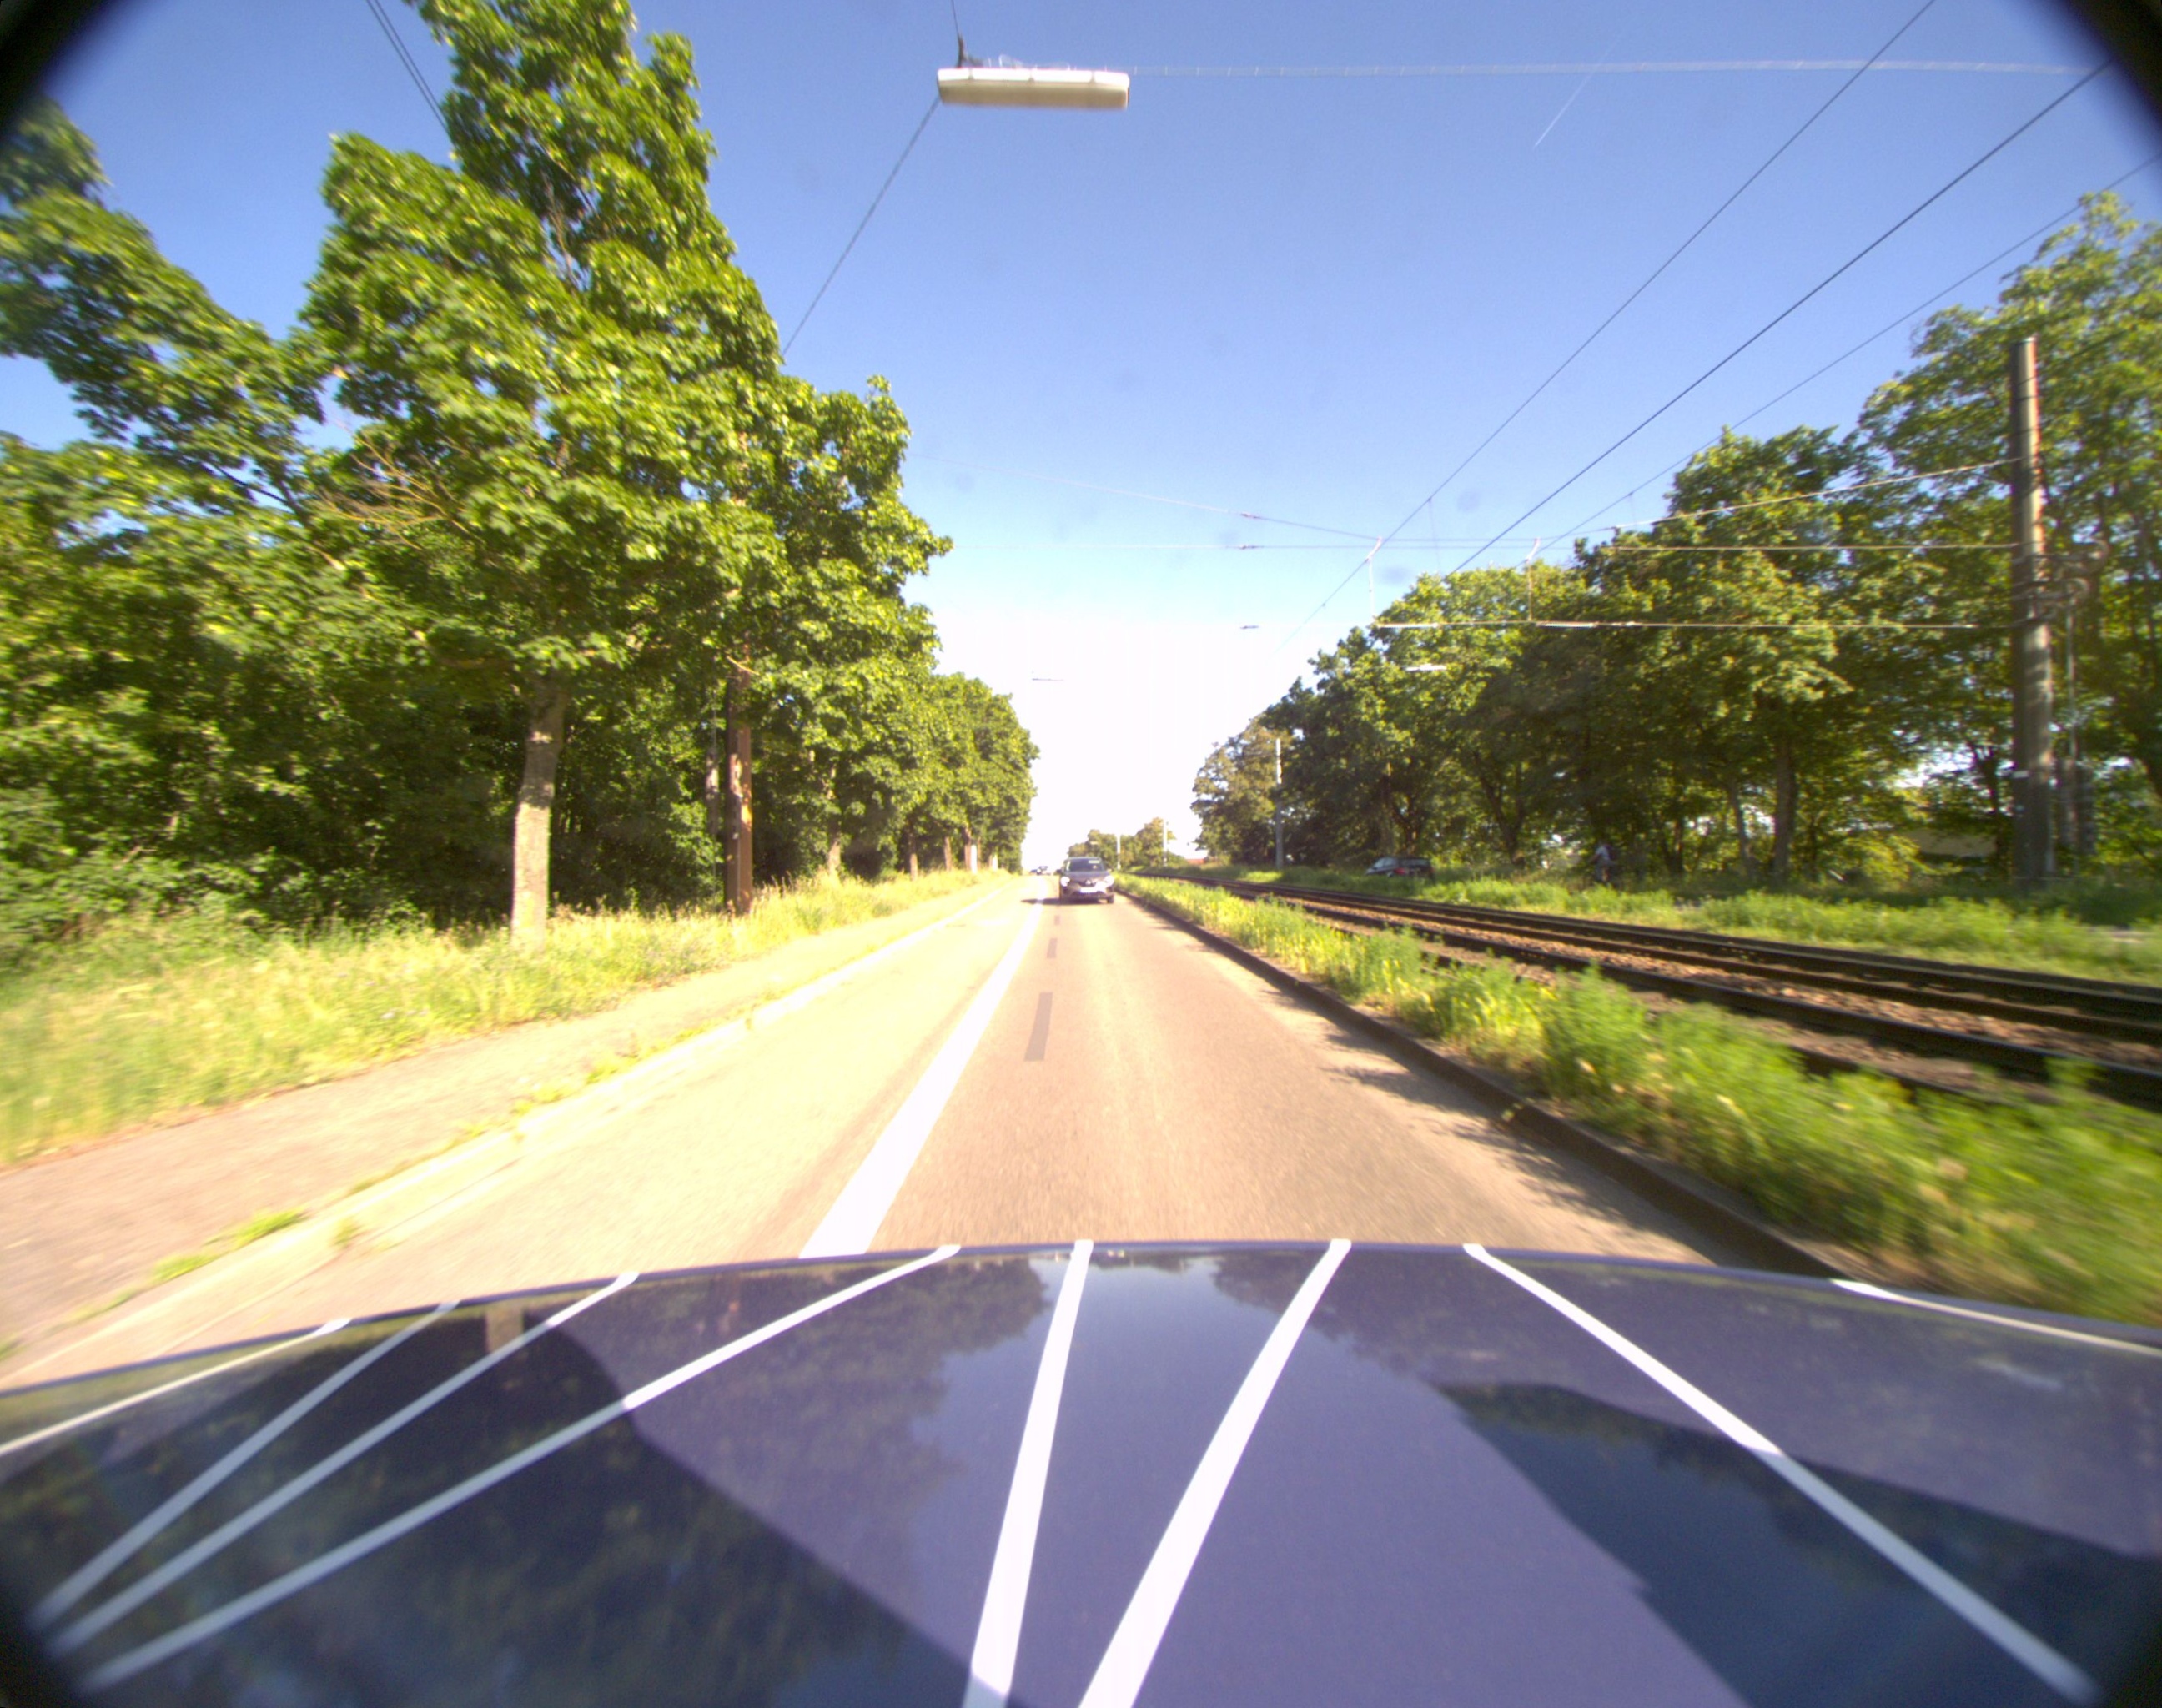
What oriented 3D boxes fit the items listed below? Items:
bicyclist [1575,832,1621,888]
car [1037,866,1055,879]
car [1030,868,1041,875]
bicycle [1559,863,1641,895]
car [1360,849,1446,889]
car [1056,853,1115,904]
[{"bbox_3d":[16.365,0.189,24.078,0.821,1.726,0.902,-2,1,-1],"label":"bicyclist"},{"bbox_3d":[-4.614,2.414,99.484,2.000,1.577,3.997,-2,0,-8],"label":"car"},{"bbox_3d":[-10.305,3.944,172.131,2.000,1.577,3.996,-2,0,-12],"label":"car"},{"bbox_3d":[16.385,0.766,24.099,0.820,0.909,2.537,-2,0,-1],"label":"bicycle"},{"bbox_3d":[13.060,0.571,31.100,1.715,1.470,3.999,-2,0,-1],"label":"car"},{"bbox_3d":[0.123,0.792,26.534,1.822,1.589,4.412,-2,0,-1],"label":"car"}]
